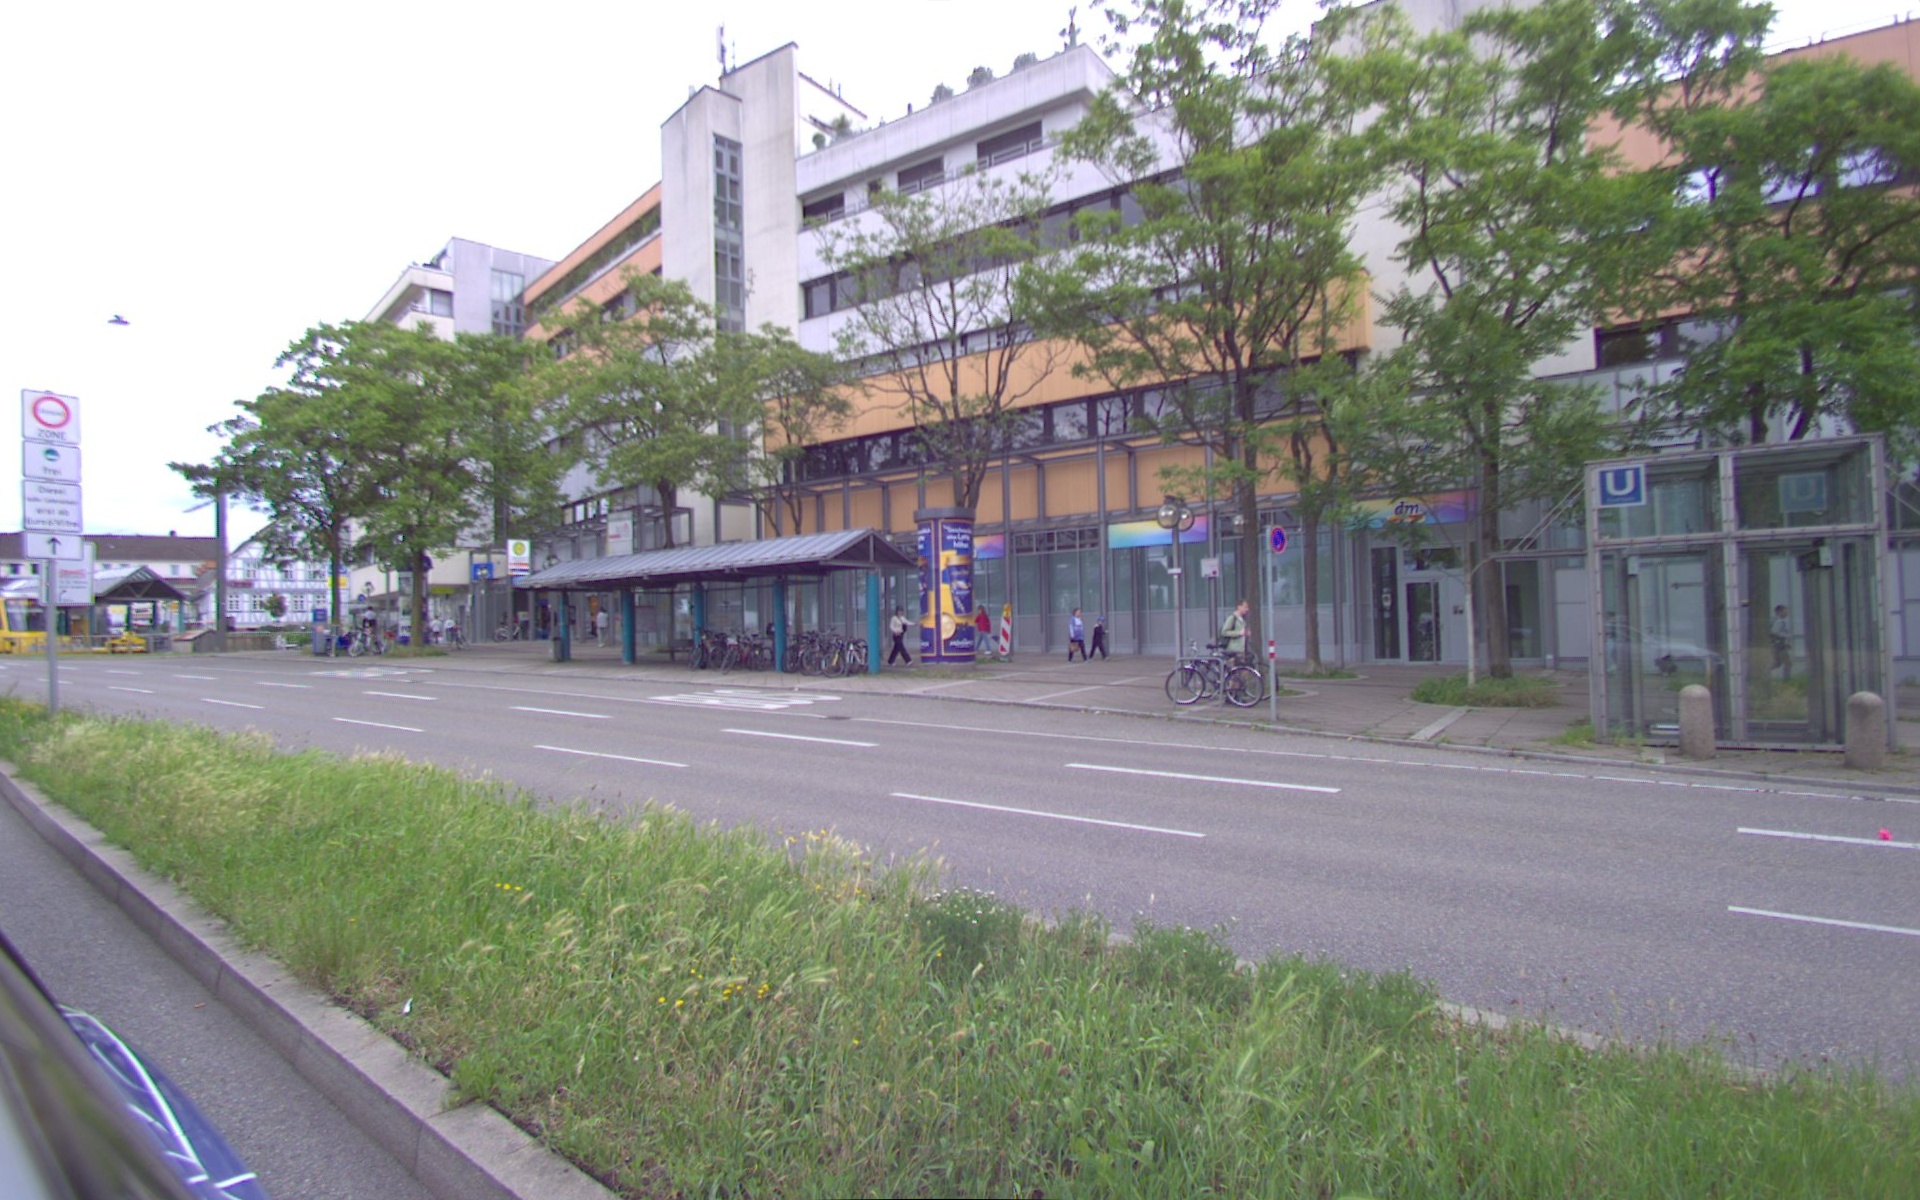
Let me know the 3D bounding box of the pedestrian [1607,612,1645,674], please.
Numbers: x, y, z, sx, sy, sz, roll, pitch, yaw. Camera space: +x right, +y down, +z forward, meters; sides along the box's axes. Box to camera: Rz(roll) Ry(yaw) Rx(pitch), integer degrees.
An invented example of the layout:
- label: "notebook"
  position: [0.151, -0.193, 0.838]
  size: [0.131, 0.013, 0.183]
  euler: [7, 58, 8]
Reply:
- label: "pedestrian"
  position: [15.170, 0.980, 23.064]
  size: [0.694, 1.385, 0.578]
  euler: [-1, -2, 34]

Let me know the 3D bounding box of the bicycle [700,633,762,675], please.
- label: "bicycle"
  position: [-6.459, 1.508, 28.587]
  size: [0.549, 1.048, 1.714]
  euler: [-2, 1, 38]

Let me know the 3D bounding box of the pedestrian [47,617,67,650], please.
- label: "pedestrian"
  position: [-55.484, 2.038, 62.195]
  size: [0.663, 2.029, 0.632]
  euler: [-1, -2, 21]

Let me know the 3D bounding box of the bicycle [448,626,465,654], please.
- label: "bicycle"
  position: [-21.357, 1.702, 42.931]
  size: [0.584, 1.134, 2.044]
  euler: [1, -1, -26]

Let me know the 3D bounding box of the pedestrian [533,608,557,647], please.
- label: "pedestrian"
  position: [-19.611, 1.294, 47.811]
  size: [0.752, 1.859, 0.755]
  euler: [-1, -2, 41]

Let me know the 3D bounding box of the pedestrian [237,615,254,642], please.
- label: "pedestrian"
  position: [-53.643, 2.144, 75.998]
  size: [0.867, 2.029, 1.010]
  euler: [1, -2, -44]

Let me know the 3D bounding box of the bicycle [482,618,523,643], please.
- label: "bicycle"
  position: [-26.102, 1.730, 57.768]
  size: [2.106, 1.377, 0.621]
  euler: [-1, 0, -24]

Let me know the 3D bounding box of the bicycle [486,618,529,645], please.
- label: "bicycle"
  position: [-24.953, 1.719, 55.790]
  size: [2.107, 1.385, 0.621]
  euler: [-1, 0, -31]

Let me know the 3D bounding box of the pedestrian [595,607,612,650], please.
- label: "pedestrian"
  position: [-15.478, 1.237, 43.909]
  size: [0.639, 1.823, 0.761]
  euler: [0, -2, -16]

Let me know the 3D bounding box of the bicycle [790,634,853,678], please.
- label: "bicycle"
  position: [-3.618, 1.455, 26.596]
  size: [0.549, 1.048, 1.714]
  euler: [-2, 0, 38]

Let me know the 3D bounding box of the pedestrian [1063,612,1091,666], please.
- label: "pedestrian"
  position: [3.323, 1.090, 28.706]
  size: [0.620, 1.515, 0.563]
  euler: [-1, -2, 31]

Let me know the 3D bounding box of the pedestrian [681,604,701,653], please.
- label: "pedestrian"
  position: [-11.157, 1.181, 42.025]
  size: [0.558, 2.029, 0.611]
  euler: [1, -2, -44]

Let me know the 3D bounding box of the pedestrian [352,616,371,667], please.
- label: "pedestrian"
  position: [-27.535, 1.895, 46.558]
  size: [0.608, 2.325, 0.583]
  euler: [-1, -2, 39]

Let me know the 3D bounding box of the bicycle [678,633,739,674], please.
- label: "bicycle"
  position: [-7.238, 1.531, 29.151]
  size: [0.549, 1.048, 1.714]
  euler: [-2, 0, 38]

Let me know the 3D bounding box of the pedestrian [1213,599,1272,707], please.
- label: "pedestrian"
  position: [4.973, 0.921, 17.807]
  size: [0.916, 1.846, 0.533]
  euler: [-1, -2, 25]

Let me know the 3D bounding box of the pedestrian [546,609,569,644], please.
- label: "pedestrian"
  position: [-19.550, 1.293, 49.120]
  size: [0.752, 1.695, 0.755]
  euler: [-1, -2, 41]

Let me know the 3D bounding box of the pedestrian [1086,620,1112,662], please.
- label: "pedestrian"
  position: [4.014, 1.183, 29.170]
  size: [0.620, 1.190, 0.418]
  euler: [-1, -2, 31]

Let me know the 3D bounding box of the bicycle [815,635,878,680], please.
- label: "bicycle"
  position: [-2.909, 1.470, 26.063]
  size: [0.549, 1.048, 1.714]
  euler: [-2, 0, 38]

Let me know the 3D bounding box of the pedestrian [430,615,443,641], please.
- label: "pedestrian"
  position: [-30.039, 1.622, 58.116]
  size: [0.548, 1.506, 0.454]
  euler: [1, -2, -41]

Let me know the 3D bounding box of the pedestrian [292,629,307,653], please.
- label: "pedestrian"
  position: [-41.789, 2.596, 64.054]
  size: [0.581, 1.554, 0.570]
  euler: [-1, -2, 32]

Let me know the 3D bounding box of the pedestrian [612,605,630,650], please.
- label: "pedestrian"
  position: [-15.228, 1.230, 45.499]
  size: [0.558, 2.029, 0.611]
  euler: [1, -2, -44]

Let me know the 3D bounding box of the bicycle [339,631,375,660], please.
- label: "bicycle"
  position: [-23.619, 1.761, 39.653]
  size: [0.585, 1.085, 2.042]
  euler: [0, -1, -12]

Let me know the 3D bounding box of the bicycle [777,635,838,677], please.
- label: "bicycle"
  position: [-4.142, 1.511, 27.563]
  size: [0.549, 1.048, 1.714]
  euler: [-2, -1, 38]

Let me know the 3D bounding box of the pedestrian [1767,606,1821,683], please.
- label: "pedestrian"
  position: [16.571, 0.878, 20.129]
  size: [0.754, 1.491, 0.524]
  euler: [-1, -2, 36]

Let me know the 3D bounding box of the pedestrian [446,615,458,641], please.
- label: "pedestrian"
  position: [-29.321, 1.613, 58.401]
  size: [0.548, 1.506, 0.454]
  euler: [1, -2, -41]

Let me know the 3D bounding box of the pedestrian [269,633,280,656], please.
- label: "pedestrian"
  position: [-36.741, 2.390, 54.264]
  size: [0.368, 1.188, 0.338]
  euler: [-1, -2, 31]

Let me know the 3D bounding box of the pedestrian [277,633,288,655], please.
- label: "pedestrian"
  position: [-36.555, 2.387, 54.616]
  size: [0.368, 1.188, 0.338]
  euler: [-1, -2, 31]

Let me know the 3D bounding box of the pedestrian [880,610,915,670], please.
- label: "pedestrian"
  position: [-1.755, 1.127, 28.558]
  size: [0.721, 1.662, 0.669]
  euler: [-1, -1, 37]

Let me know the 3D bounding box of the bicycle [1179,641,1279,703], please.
- label: "bicycle"
  position: [4.980, 1.310, 18.793]
  size: [1.737, 1.074, 0.542]
  euler: [-2, -1, 45]

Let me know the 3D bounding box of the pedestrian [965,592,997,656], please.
- label: "pedestrian"
  position: [0.696, 0.770, 33.001]
  size: [0.791, 2.029, 0.703]
  euler: [-1, 0, 31]

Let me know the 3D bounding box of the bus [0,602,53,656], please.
- label: "bus"
  position: [-55.988, 1.676, 58.616]
  size: [8.470, 3.006, 2.530]
  euler: [-1, -2, 29]

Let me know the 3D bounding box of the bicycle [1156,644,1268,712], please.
- label: "bicycle"
  position: [4.364, 1.321, 17.601]
  size: [0.802, 1.068, 1.739]
  euler: [0, -1, -40]

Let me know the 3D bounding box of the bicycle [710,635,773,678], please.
- label: "bicycle"
  position: [-5.965, 1.526, 27.724]
  size: [0.549, 1.048, 1.714]
  euler: [-2, 1, 38]

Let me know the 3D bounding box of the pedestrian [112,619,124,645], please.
- label: "pedestrian"
  position: [-67.003, 2.567, 80.548]
  size: [0.731, 2.029, 0.940]
  euler: [1, -2, -39]

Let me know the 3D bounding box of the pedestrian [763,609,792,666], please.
- label: "pedestrian"
  position: [-5.848, 1.204, 32.360]
  size: [0.769, 1.800, 0.525]
  euler: [-1, -2, 33]

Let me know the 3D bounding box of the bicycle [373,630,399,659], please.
- label: "bicycle"
  position: [-22.752, 1.748, 40.111]
  size: [0.584, 1.085, 2.044]
  euler: [0, -1, -21]
